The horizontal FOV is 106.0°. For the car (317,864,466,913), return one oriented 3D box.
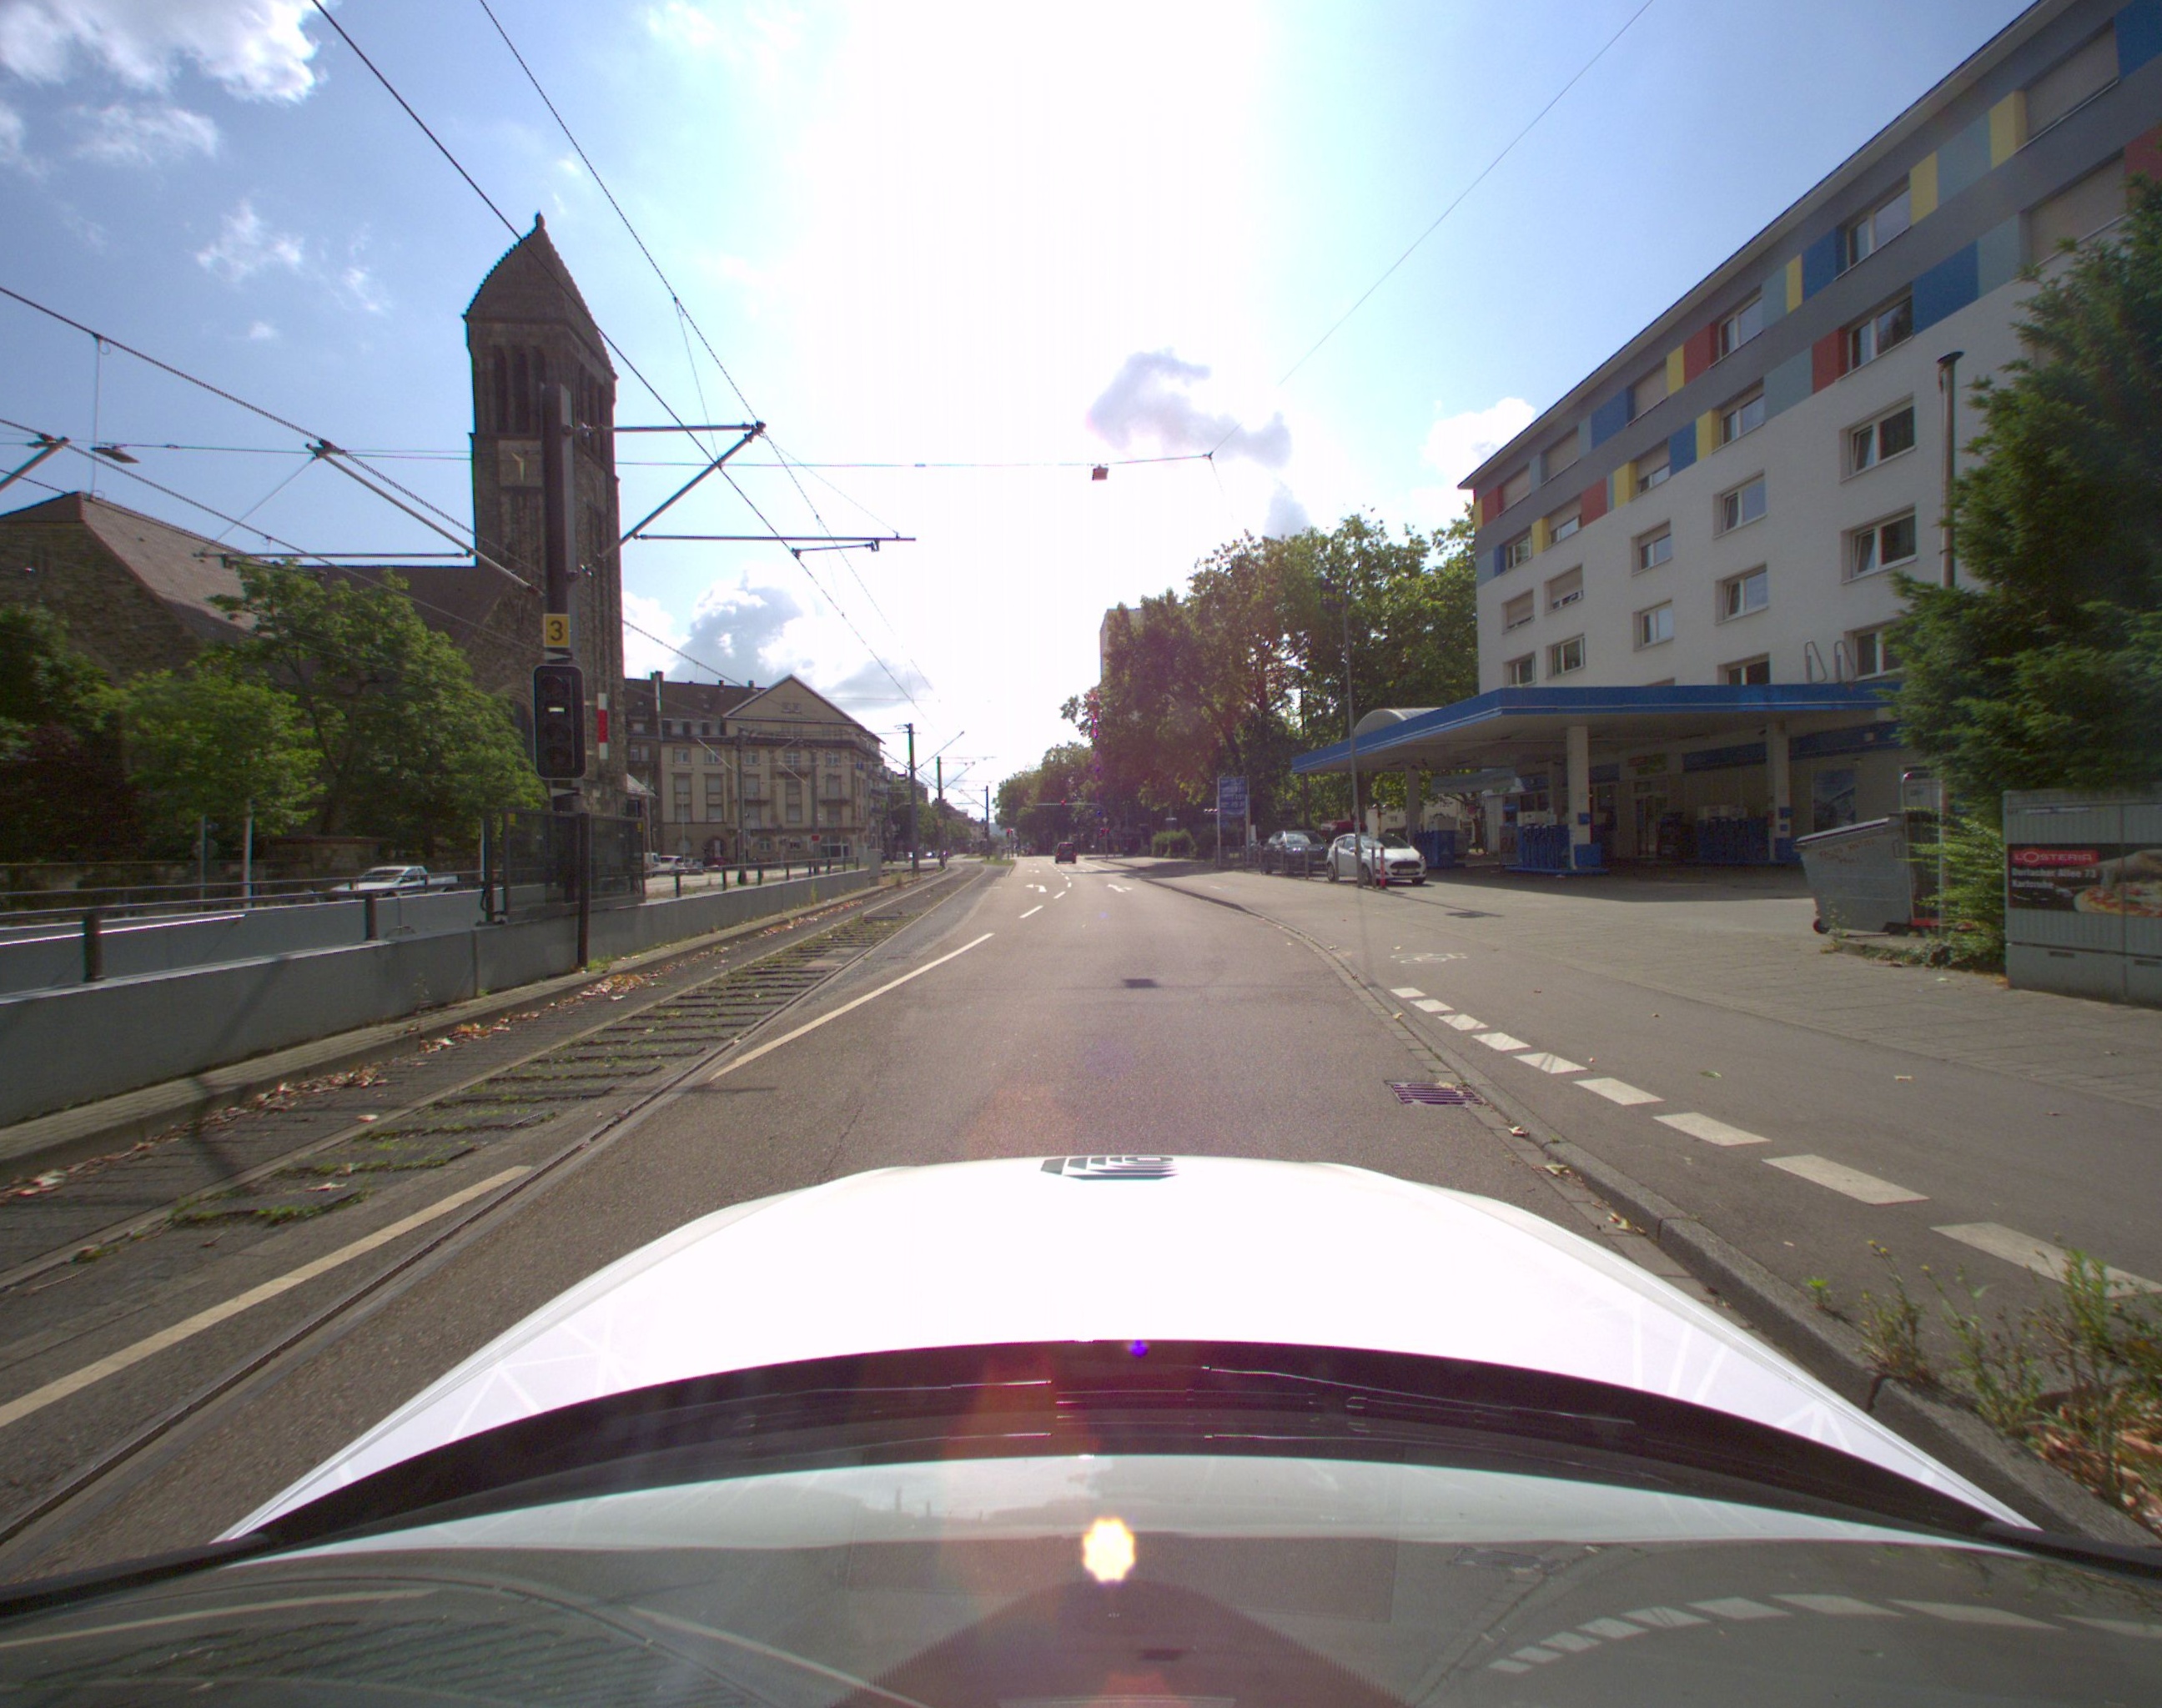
[{"bbox_3d":[-25.039,1.202,29.833,1.928,1.504,4.406,-2,1,-5],"label":"car"}]

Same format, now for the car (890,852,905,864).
[{"bbox_3d":[-32.639,0.634,144.968,1.989,2.013,3.995,-2,1,-4],"label":"car"}]

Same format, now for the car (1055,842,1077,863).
[{"bbox_3d":[-1.323,-0.142,71.277,1.747,1.808,3.471,0,0,-3],"label":"car"}]

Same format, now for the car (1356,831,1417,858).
[{"bbox_3d":[19.446,-0.601,52.019,2.001,1.651,4.649,-1,1,-2],"label":"car"}]

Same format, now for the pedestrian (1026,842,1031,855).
[{"bbox_3d":[-7.706,-0.797,120.439,0.658,1.784,0.660,-2,0,-4],"label":"pedestrian"}]

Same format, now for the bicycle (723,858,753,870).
[{"bbox_3d":[-40.463,1.214,96.101,3.287,1.253,1.002,-2,0,12],"label":"bicycle"}]

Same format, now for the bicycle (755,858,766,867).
[{"bbox_3d":[-38.686,1.053,98.262,0.809,1.053,2.539,-2,1,-33],"label":"bicycle"}]

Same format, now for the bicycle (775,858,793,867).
[{"bbox_3d":[-36.321,1.011,99.617,0.799,1.053,2.572,-2,1,8],"label":"bicycle"}]

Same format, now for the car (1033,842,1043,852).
[{"bbox_3d":[-8.211,-1.355,155.888,1.859,1.752,3.995,-2,1,-4],"label":"car"}]

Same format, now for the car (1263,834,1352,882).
[{"bbox_3d":[8.208,0.099,29.952,1.801,1.602,4.578,-1,1,-3],"label":"car"}]

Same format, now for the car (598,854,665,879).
[{"bbox_3d":[-33.624,0.912,61.028,3.866,1.748,1.891,-2,1,-7],"label":"car"}]

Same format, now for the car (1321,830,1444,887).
[{"bbox_3d":[8.471,0.096,23.298,1.802,1.455,3.995,-1,1,-4],"label":"car"}]

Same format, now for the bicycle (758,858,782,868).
[{"bbox_3d":[-37.110,1.042,97.236,2.575,1.053,0.675,-2,1,-32],"label":"bicycle"}]

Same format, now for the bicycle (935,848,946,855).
[{"bbox_3d":[-23.750,-0.392,137.540,0.887,1.048,2.318,-2,1,14],"label":"bicycle"}]

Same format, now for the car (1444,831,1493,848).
[{"bbox_3d":[44.561,-1.658,93.723,4.669,1.706,2.190,-2,0,-2],"label":"car"}]

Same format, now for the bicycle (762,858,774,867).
[{"bbox_3d":[-37.958,1.042,98.728,0.809,1.053,2.539,-2,1,-33],"label":"bicycle"}]

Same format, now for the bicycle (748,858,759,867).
[{"bbox_3d":[-39.407,1.063,97.853,0.745,1.053,2.539,-2,1,-33],"label":"bicycle"}]

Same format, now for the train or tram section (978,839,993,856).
[{"bbox_3d":[-20.118,-1.320,171.340,2.236,3.331,12.956,-2,1,-3],"label":"train or tram section"}]

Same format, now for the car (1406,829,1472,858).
[{"bbox_3d":[22.448,-0.665,51.283,2.001,1.754,4.649,-1,1,-2],"label":"car"}]

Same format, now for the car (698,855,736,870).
[{"bbox_3d":[-42.428,0.996,94.878,3.949,1.674,2.012,-2,1,29],"label":"car"}]

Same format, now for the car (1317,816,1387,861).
[{"bbox_3d":[16.814,-0.927,50.864,2.106,2.582,6.015,-2,1,-2],"label":"car"}]

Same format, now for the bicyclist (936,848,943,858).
[{"bbox_3d":[-23.851,-0.168,137.372,0.772,1.511,1.005,-2,1,14],"label":"bicyclist"}]

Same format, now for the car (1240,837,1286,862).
[{"bbox_3d":[11.301,-0.277,50.877,1.646,1.470,4.036,-2,1,-5],"label":"car"}]
